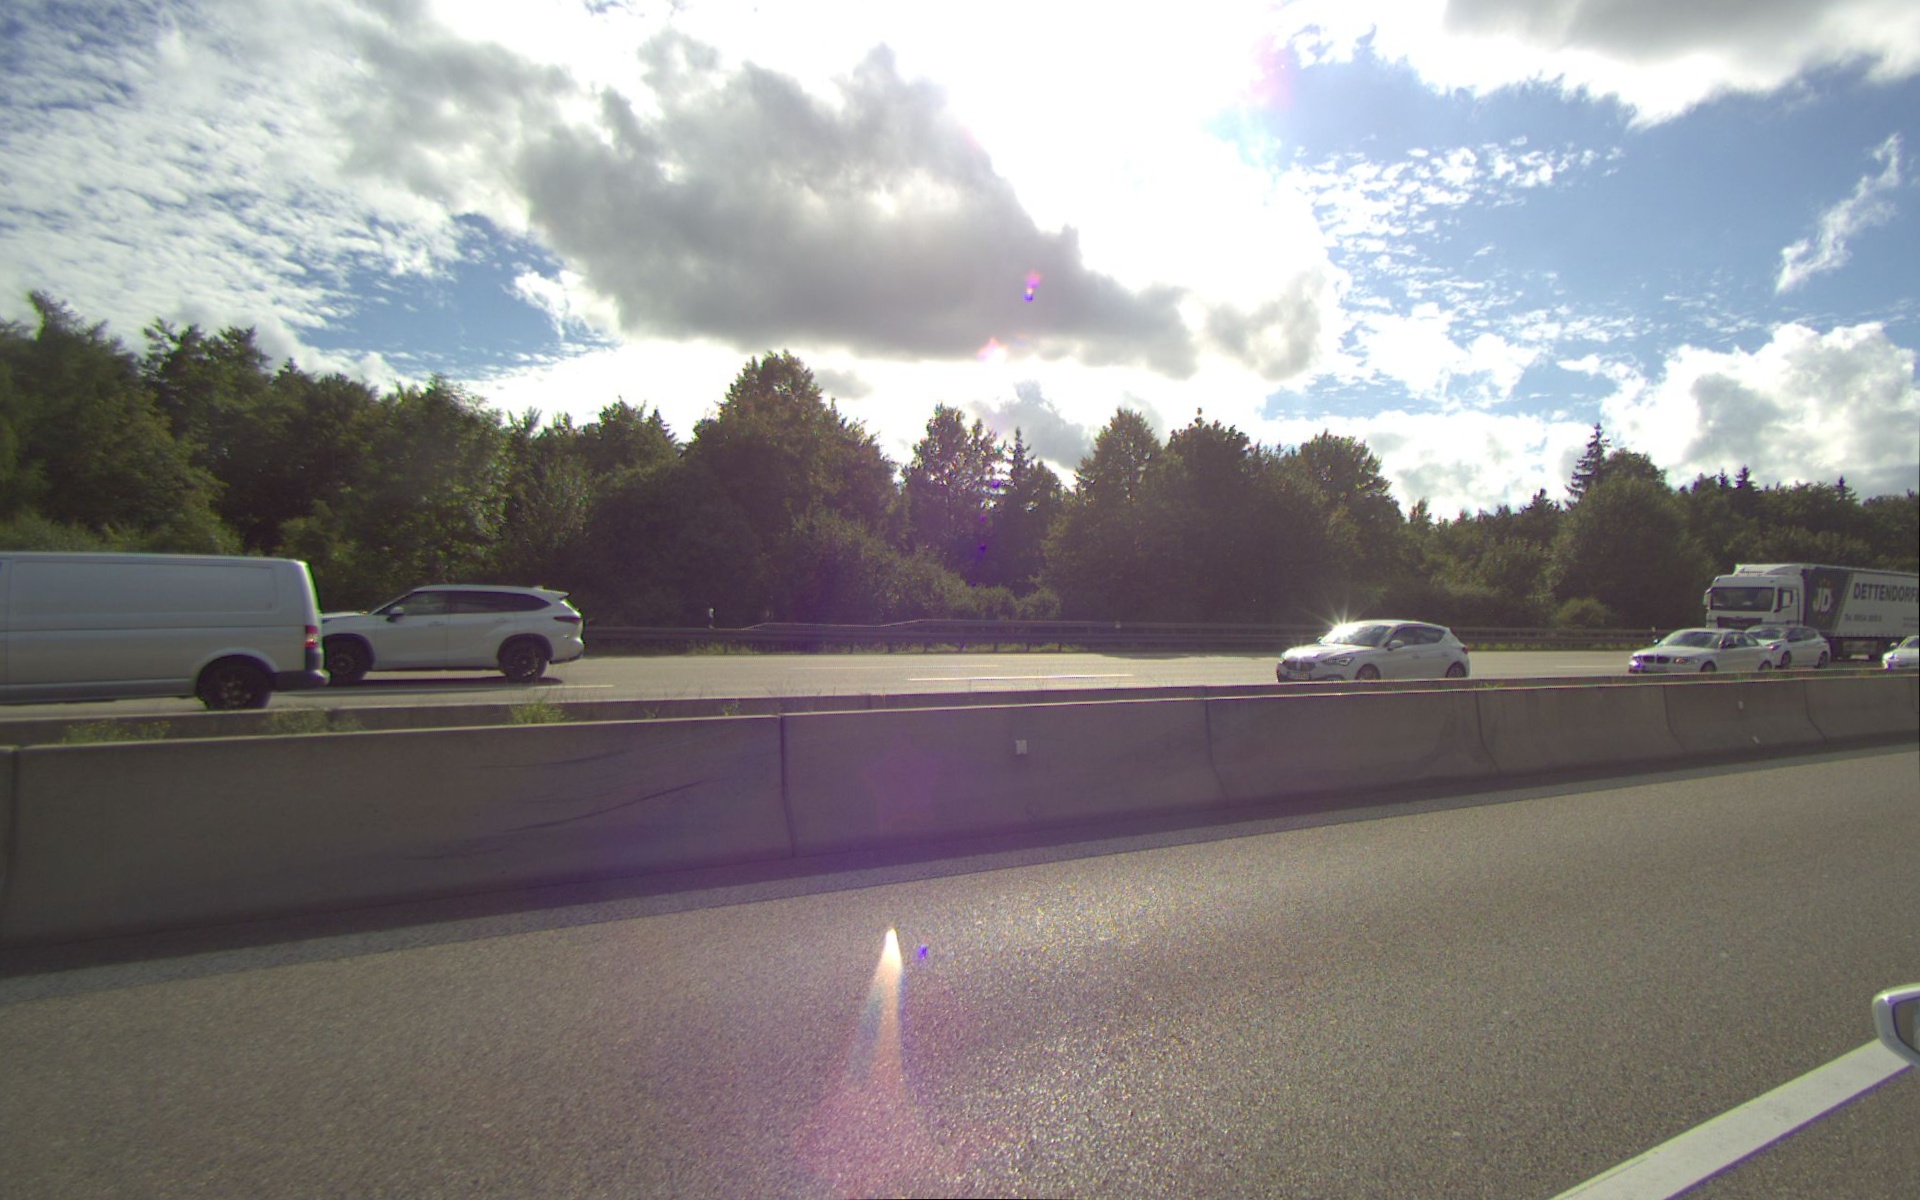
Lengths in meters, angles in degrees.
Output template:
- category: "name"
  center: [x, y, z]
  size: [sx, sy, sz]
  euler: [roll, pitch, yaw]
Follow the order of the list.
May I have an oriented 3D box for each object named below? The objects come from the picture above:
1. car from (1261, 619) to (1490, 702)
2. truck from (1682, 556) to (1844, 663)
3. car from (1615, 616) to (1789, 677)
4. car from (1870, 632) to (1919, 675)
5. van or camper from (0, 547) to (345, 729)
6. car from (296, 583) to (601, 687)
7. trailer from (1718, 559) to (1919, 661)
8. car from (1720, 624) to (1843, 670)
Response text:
- category: "car"
  center: [8.174, 1.133, 19.634]
  size: [4.638, 1.413, 1.760]
  euler: [1, 0, -32]
- category: "truck"
  center: [33.815, 0.436, 42.292]
  size: [6.152, 4.161, 3.302]
  euler: [1, 0, -30]
- category: "car"
  center: [18.846, 1.152, 25.482]
  size: [4.654, 1.415, 1.675]
  euler: [1, 0, -27]
- category: "car"
  center: [28.688, 1.555, 29.330]
  size: [4.460, 1.176, 1.803]
  euler: [1, 0, -29]
- category: "van or camper"
  center: [-10.563, 0.416, 11.963]
  size: [5.404, 1.963, 1.980]
  euler: [1, 0, -36]
- category: "car"
  center: [-9.305, 0.622, 18.541]
  size: [4.729, 1.706, 2.161]
  euler: [1, 0, -30]
- category: "trailer"
  center: [39.933, 0.565, 45.960]
  size: [13.991, 4.161, 3.301]
  euler: [1, 0, -31]
- category: "car"
  center: [28.901, 1.623, 35.294]
  size: [4.744, 1.472, 1.802]
  euler: [1, 0, -30]
